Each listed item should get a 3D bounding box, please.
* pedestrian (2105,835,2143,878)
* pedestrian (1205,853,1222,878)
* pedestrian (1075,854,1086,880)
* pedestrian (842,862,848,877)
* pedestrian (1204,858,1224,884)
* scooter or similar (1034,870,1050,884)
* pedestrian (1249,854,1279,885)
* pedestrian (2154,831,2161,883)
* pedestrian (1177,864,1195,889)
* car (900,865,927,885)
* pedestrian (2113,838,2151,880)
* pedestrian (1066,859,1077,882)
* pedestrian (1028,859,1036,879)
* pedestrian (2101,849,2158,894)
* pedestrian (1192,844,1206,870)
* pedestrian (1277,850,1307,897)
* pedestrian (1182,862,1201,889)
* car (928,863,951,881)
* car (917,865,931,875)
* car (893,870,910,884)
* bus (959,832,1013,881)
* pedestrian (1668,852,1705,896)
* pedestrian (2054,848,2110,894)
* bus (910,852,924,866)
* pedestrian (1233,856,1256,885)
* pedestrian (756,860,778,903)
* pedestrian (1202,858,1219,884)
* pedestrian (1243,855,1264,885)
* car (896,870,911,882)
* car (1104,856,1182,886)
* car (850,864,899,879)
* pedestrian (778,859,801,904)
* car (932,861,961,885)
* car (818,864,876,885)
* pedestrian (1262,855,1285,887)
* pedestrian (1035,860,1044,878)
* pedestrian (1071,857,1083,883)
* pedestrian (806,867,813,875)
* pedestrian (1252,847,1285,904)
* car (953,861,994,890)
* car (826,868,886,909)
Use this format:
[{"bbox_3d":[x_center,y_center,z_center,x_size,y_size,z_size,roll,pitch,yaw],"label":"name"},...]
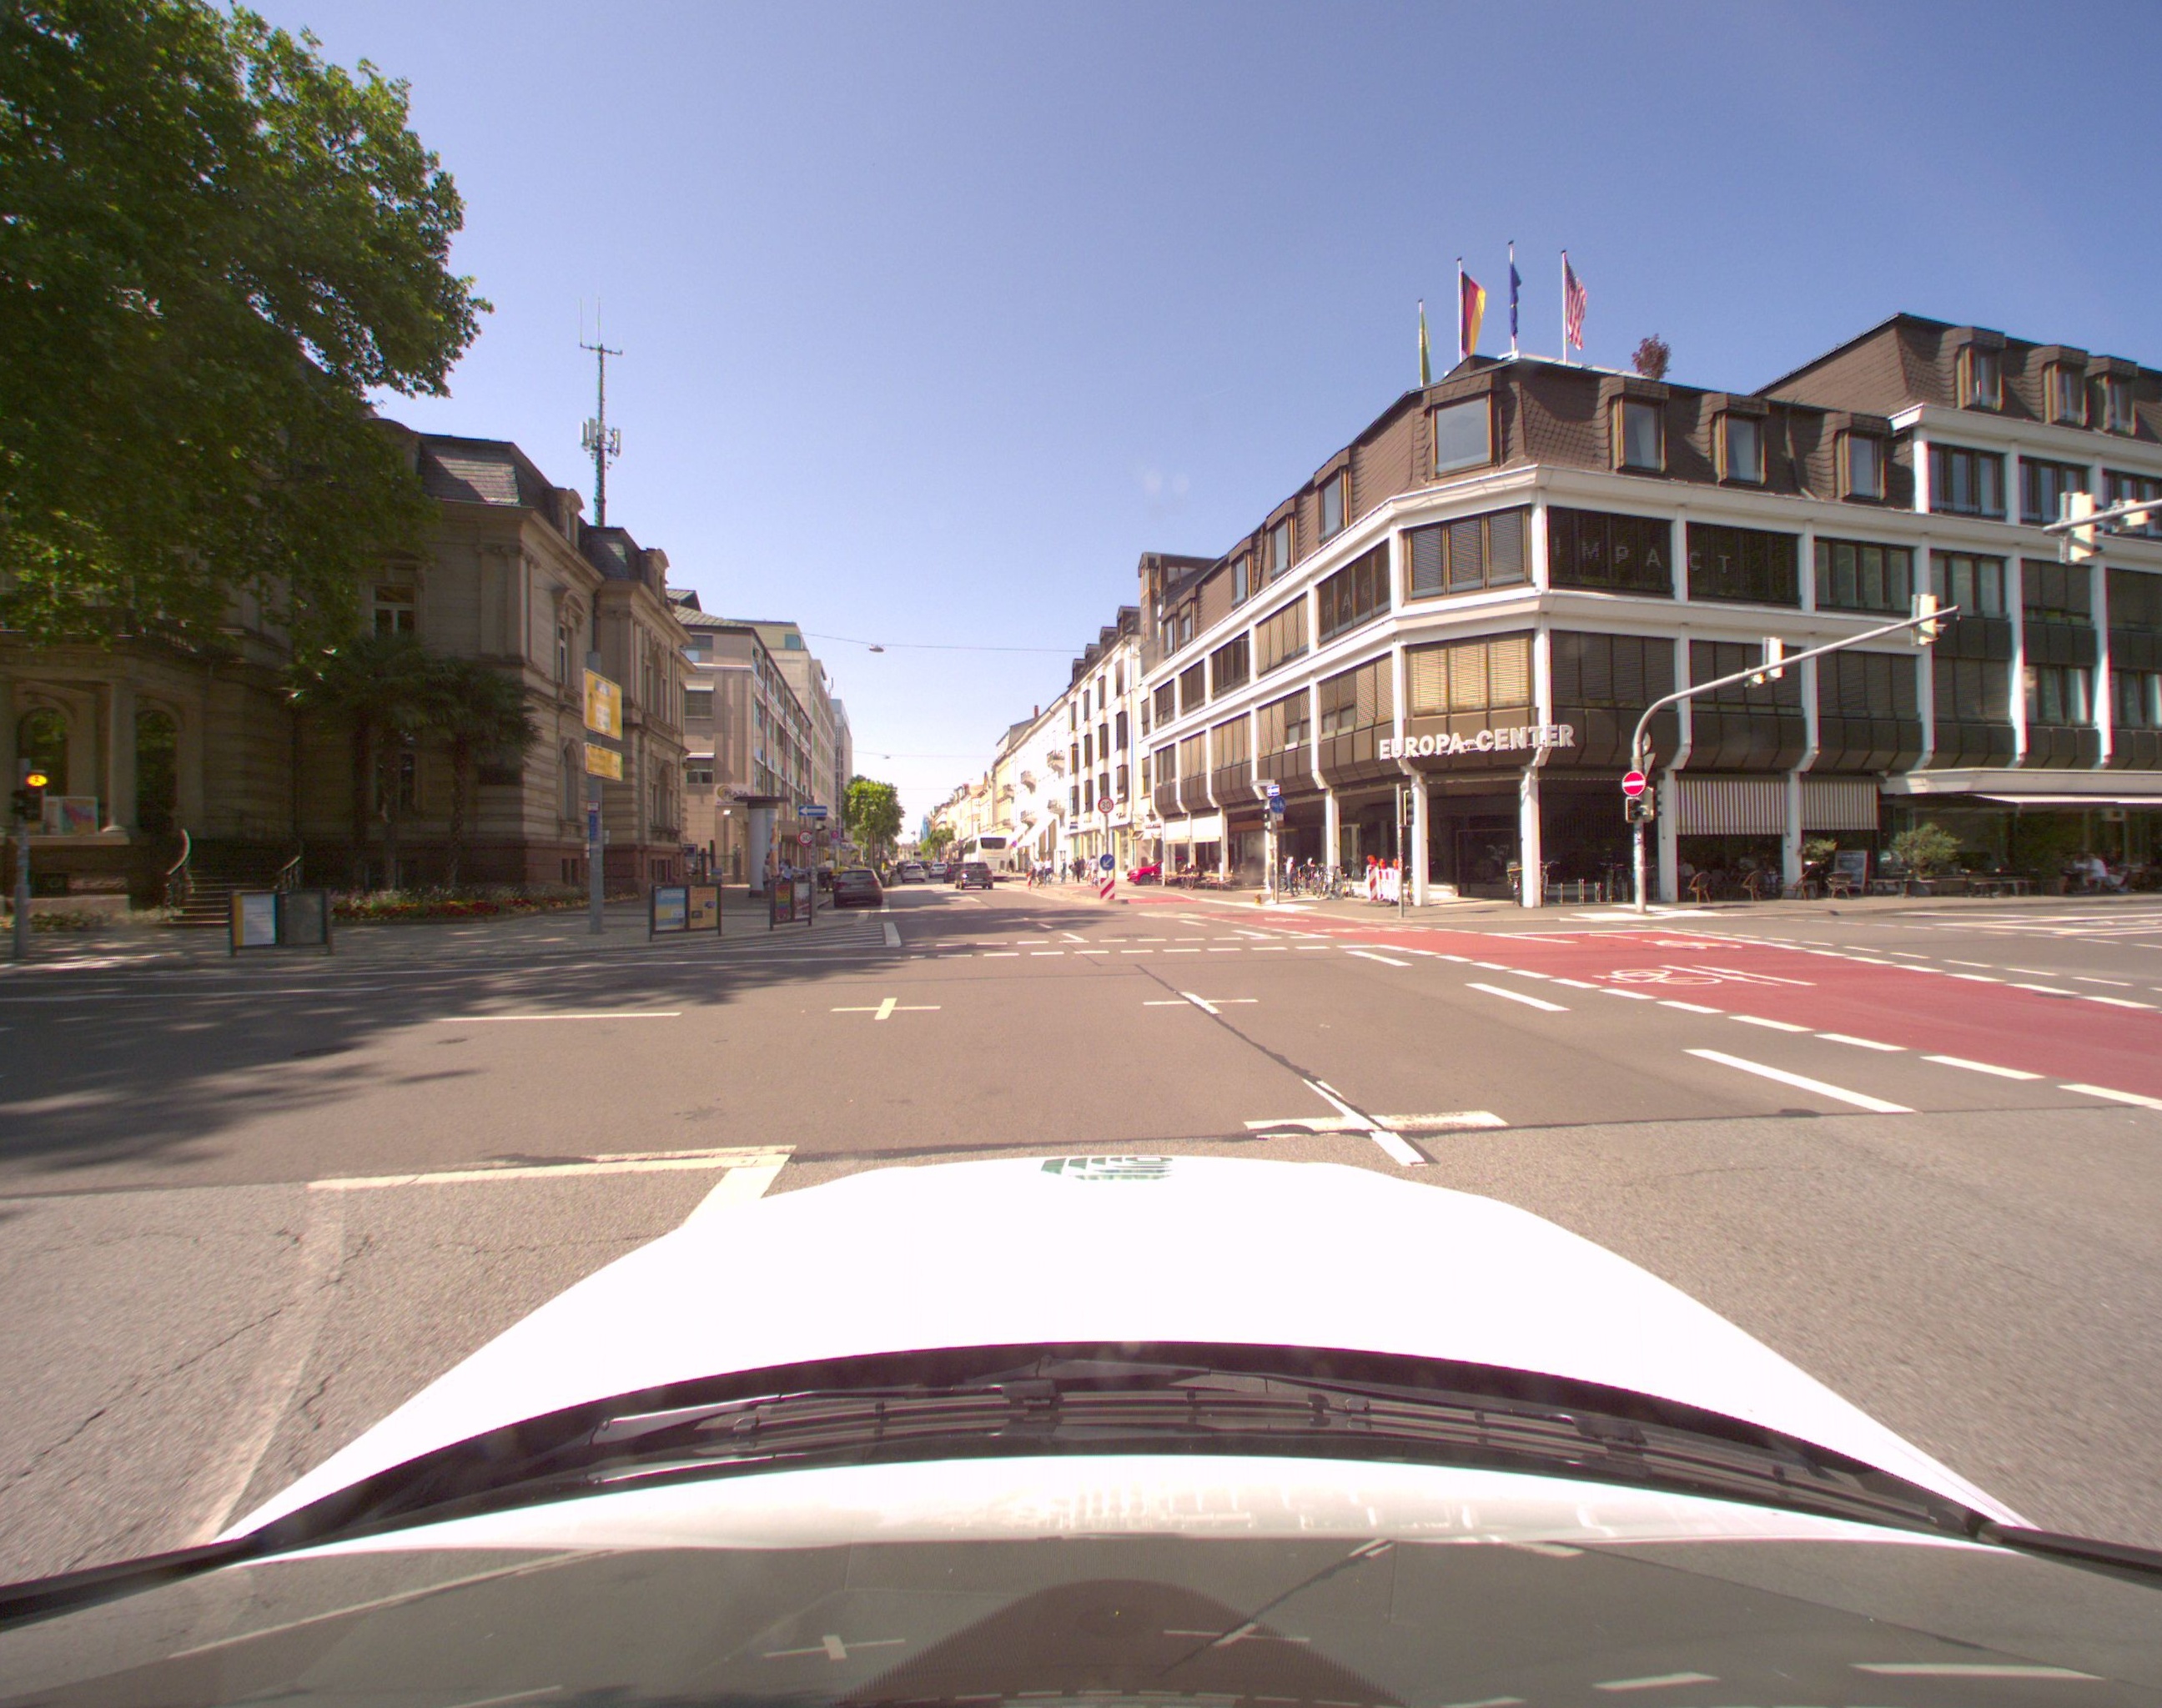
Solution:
[{"bbox_3d":[34.836,0.085,27.199,0.568,1.393,0.570,-1,-1,-14],"label":"pedestrian"},{"bbox_3d":[7.198,0.624,44.164,0.745,1.368,0.581,-1,-1,-14],"label":"pedestrian"},{"bbox_3d":[-0.020,0.967,59.479,0.693,1.851,0.834,-1,-2,-5],"label":"pedestrian"},{"bbox_3d":[-25.979,1.691,89.545,0.567,1.657,0.632,0,-1,-20],"label":"pedestrian"},{"bbox_3d":[7.027,0.887,43.081,0.878,1.368,0.534,-1,-1,-15],"label":"pedestrian"},{"bbox_3d":[-2.689,1.576,56.123,0.867,0.957,1.206,0,-1,-15],"label":"scooter or similar"},{"bbox_3d":[8.392,0.716,37.411,0.897,1.351,1.100,-1,-2,-14],"label":"pedestrian"},{"bbox_3d":[36.989,0.098,27.603,0.485,1.757,0.584,-1,-1,-14],"label":"pedestrian"},{"bbox_3d":[5.051,1.065,39.141,0.710,1.173,0.695,-1,-2,-5],"label":"pedestrian"},{"bbox_3d":[-13.414,1.654,65.106,1.866,1.441,3.979,-1,0,-15],"label":"car"},{"bbox_3d":[35.247,0.165,27.318,0.568,1.393,0.570,-1,-1,-14],"label":"pedestrian"},{"bbox_3d":[-0.720,1.214,59.429,0.693,1.685,0.834,-1,-1,-5],"label":"pedestrian"},{"bbox_3d":[-4.434,1.375,72.985,0.573,1.778,1.016,-1,-2,-10],"label":"pedestrian"},{"bbox_3d":[32.899,0.542,25.557,0.927,1.393,0.754,-1,-1,-14],"label":"pedestrian"},{"bbox_3d":[6.373,0.166,43.967,0.536,1.368,0.686,-1,-1,-13],"label":"pedestrian"},{"bbox_3d":[7.722,0.705,29.859,0.831,1.663,0.695,-2,-2,-5],"label":"pedestrian"},{"bbox_3d":[5.210,1.012,38.303,0.710,1.217,0.695,-1,-2,-5],"label":"pedestrian"},{"bbox_3d":[-13.433,1.716,77.082,1.835,1.527,3.981,-3,-1,-13],"label":"car"},{"bbox_3d":[-23.907,2.405,123.829,1.865,1.441,3.981,-1,0,-14],"label":"car"},{"bbox_3d":[-20.748,2.664,94.192,1.865,1.441,3.981,-1,-2,-14],"label":"car"},{"bbox_3d":[-8.149,0.259,68.249,2.885,3.742,12.366,1,-1,-14],"label":"bus"},{"bbox_3d":[18.899,0.620,25.411,0.818,1.334,0.978,-2,-1,41],"label":"pedestrian"},{"bbox_3d":[30.971,0.516,25.196,0.927,1.393,0.754,-1,-1,-14],"label":"pedestrian"},{"bbox_3d":[-43.727,1.236,216.986,2.776,3.605,8.924,-1,0,-16],"label":"bus"},{"bbox_3d":[7.898,0.803,39.326,0.814,1.397,0.693,-1,-2,-15],"label":"pedestrian"},{"bbox_3d":[-12.338,1.088,32.047,0.548,1.665,0.935,-1,-2,-4],"label":"pedestrian"},{"bbox_3d":[6.906,0.929,43.526,0.762,1.368,0.476,-1,-1,-15],"label":"pedestrian"},{"bbox_3d":[8.149,0.760,38.525,0.712,1.397,0.693,-1,-2,-14],"label":"pedestrian"},{"bbox_3d":[-22.472,2.789,102.976,1.745,1.441,3.982,-1,0,-13],"label":"car"},{"bbox_3d":[3.529,0.974,46.519,4.047,1.495,1.834,-1,-3,-12],"label":"car"},{"bbox_3d":[-21.328,1.770,84.018,4.737,1.422,1.894,1,0,27],"label":"car"},{"bbox_3d":[-11.345,1.076,31.703,0.694,1.695,0.688,-1,-2,-11],"label":"pedestrian"},{"bbox_3d":[-9.666,1.383,58.449,1.834,1.527,3.983,-3,-1,-12],"label":"car"},{"bbox_3d":[-17.766,1.549,61.781,4.007,1.494,1.947,0,0,28],"label":"car"},{"bbox_3d":[8.625,0.757,36.482,0.712,1.397,0.693,-1,-2,-14],"label":"pedestrian"},{"bbox_3d":[-3.788,1.353,73.885,0.645,1.617,0.819,-1,-2,-10],"label":"pedestrian"},{"bbox_3d":[-0.292,1.083,54.087,0.620,1.720,0.832,-1,-1,-11],"label":"pedestrian"},{"bbox_3d":[-27.977,1.766,83.810,0.566,0.809,0.771,4,-1,-13],"label":"pedestrian"},{"bbox_3d":[6.205,0.705,26.928,0.831,1.836,0.695,-1,-2,-5],"label":"pedestrian"},{"bbox_3d":[-6.021,1.202,45.266,1.836,1.527,3.980,0,-1,-14],"label":"car"},{"bbox_3d":[-8.654,1.280,31.648,1.938,1.354,4.232,-2,0,-12],"label":"car"}]
